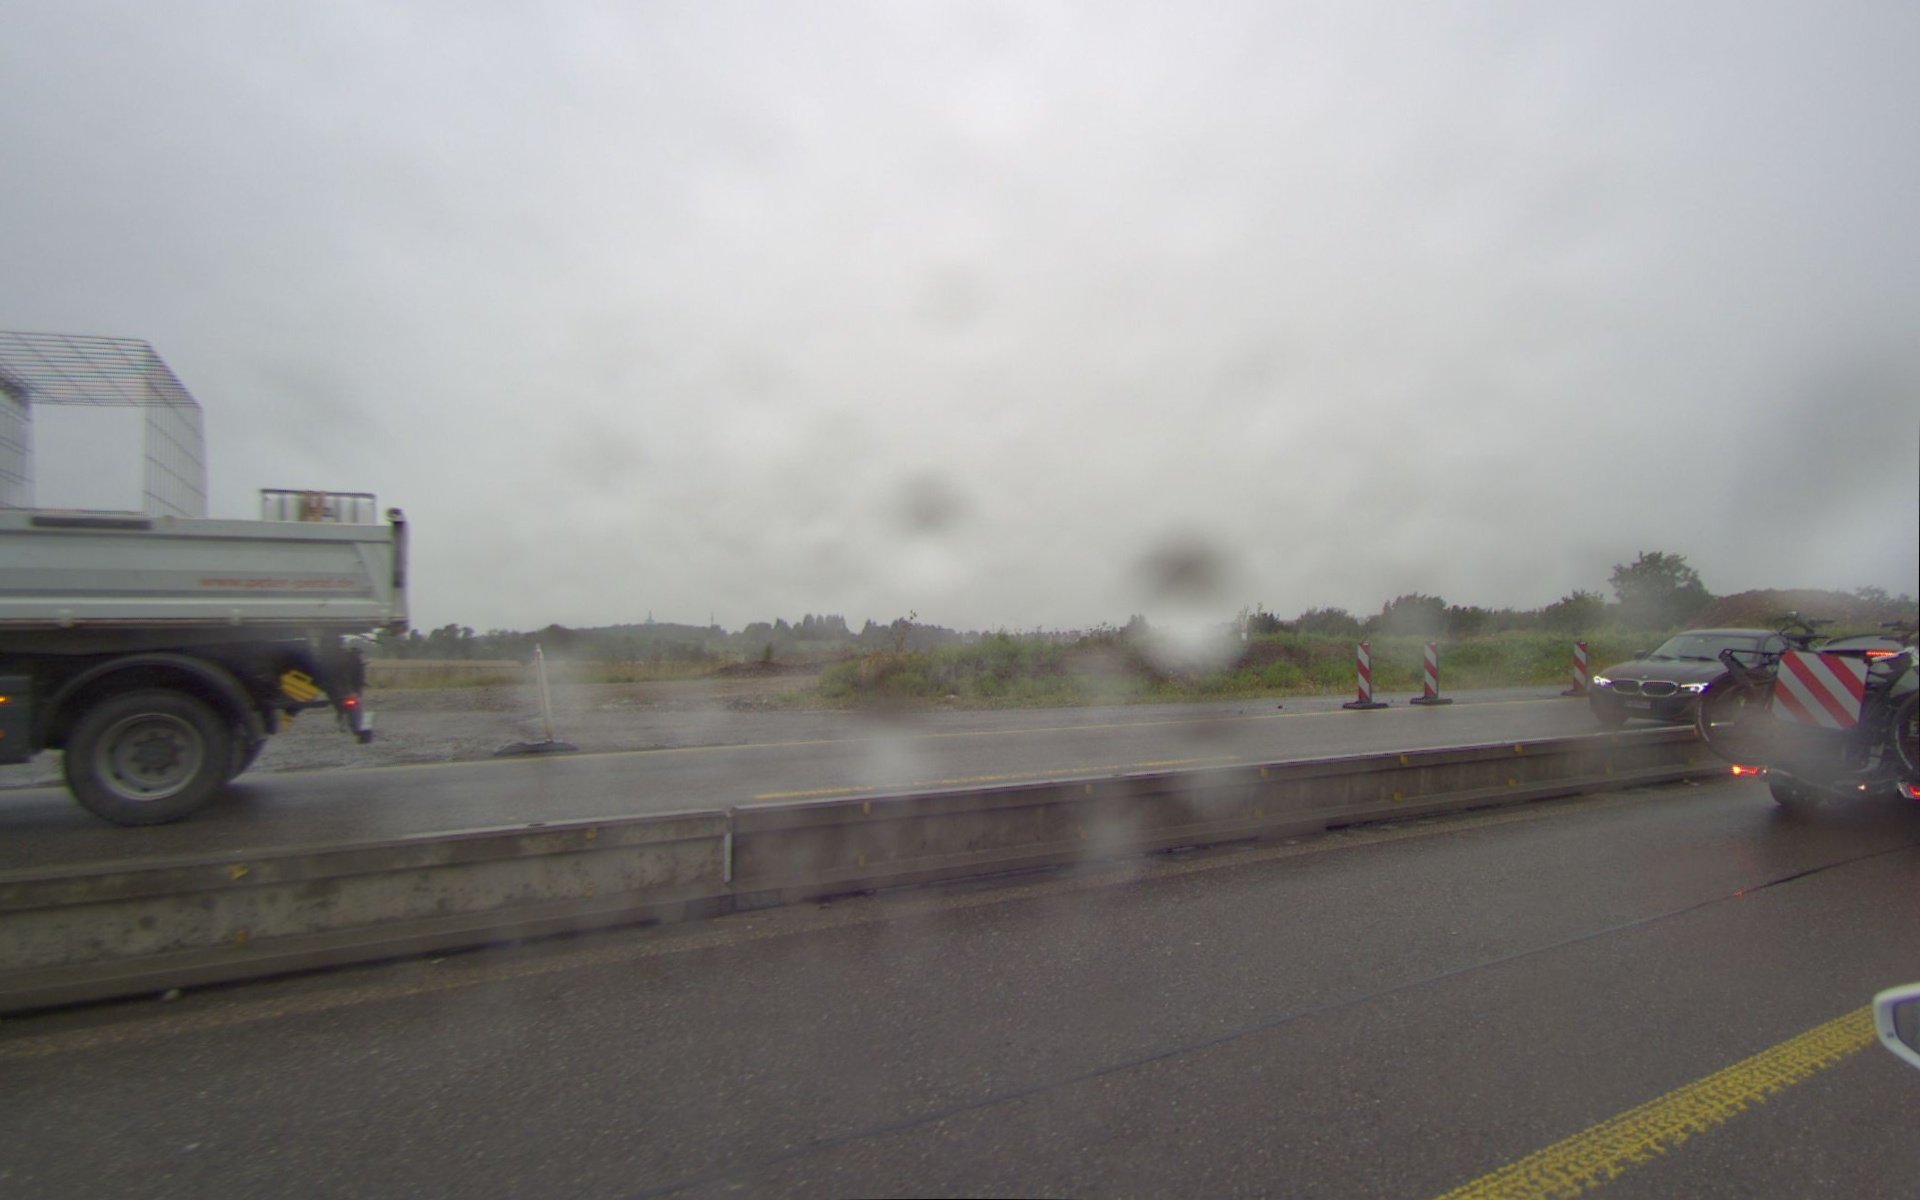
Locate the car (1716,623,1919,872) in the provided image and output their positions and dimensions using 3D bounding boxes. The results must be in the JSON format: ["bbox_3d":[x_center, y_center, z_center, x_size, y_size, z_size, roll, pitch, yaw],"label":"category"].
[{"bbox_3d":[8.358,0.979,8.151,5.566,1.482,1.725,-1,0,-32],"label":"car"}]

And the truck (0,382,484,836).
[{"bbox_3d":[-7.136,0.082,7.293,6.471,2.932,2.348,1,-2,-30],"label":"truck"}]

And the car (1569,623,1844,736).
[{"bbox_3d":[11.611,1.138,15.545,4.694,1.515,1.739,1,-1,-30],"label":"car"}]
